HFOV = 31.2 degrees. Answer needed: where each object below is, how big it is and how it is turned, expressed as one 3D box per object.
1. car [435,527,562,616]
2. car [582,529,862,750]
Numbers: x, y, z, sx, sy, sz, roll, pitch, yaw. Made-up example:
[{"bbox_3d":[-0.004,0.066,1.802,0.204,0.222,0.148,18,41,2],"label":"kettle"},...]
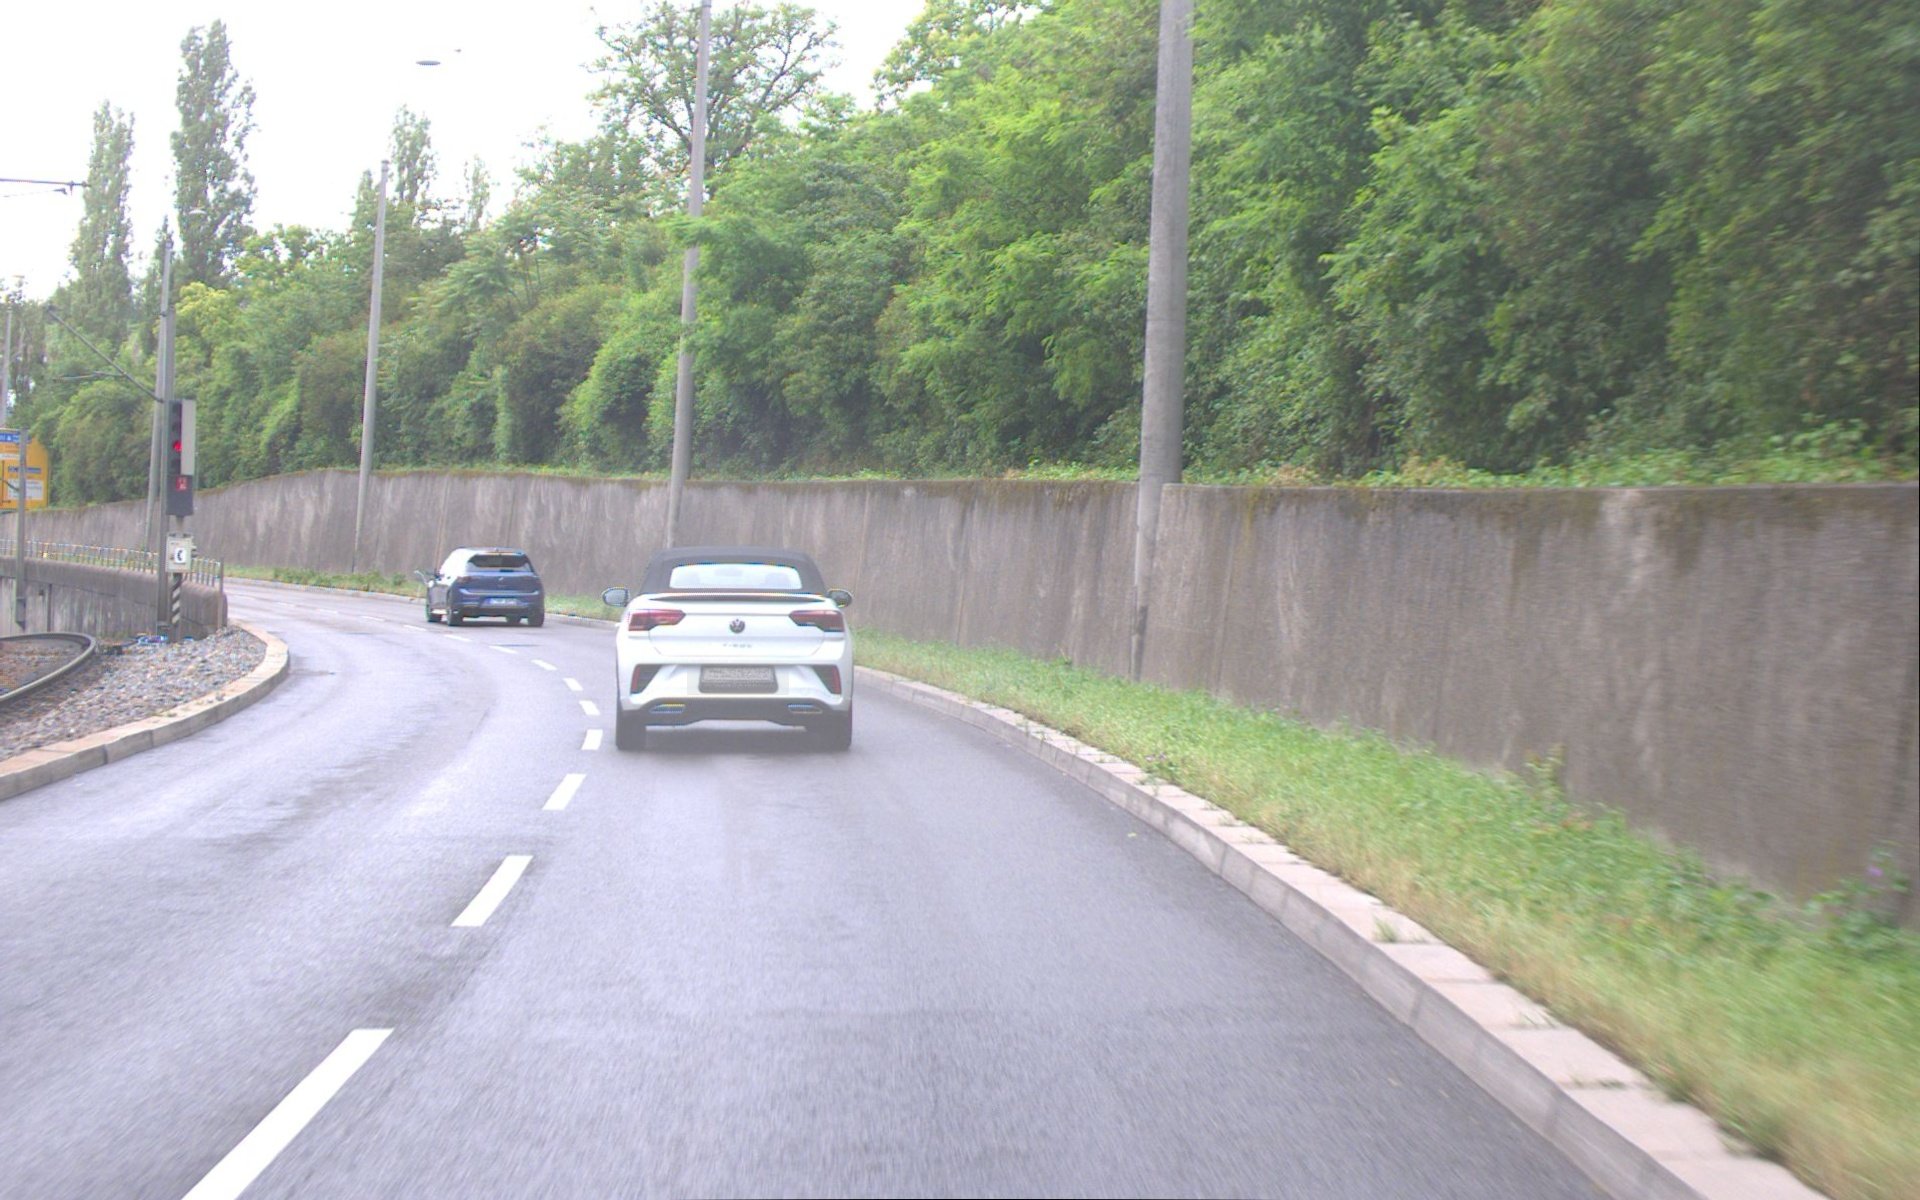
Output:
[{"bbox_3d":[-8.728,-0.563,64.764,1.925,1.594,4.063,1,1,-14],"label":"car"},{"bbox_3d":[-1.891,0.249,26.938,1.995,1.573,4.126,1,1,-5],"label":"car"}]
